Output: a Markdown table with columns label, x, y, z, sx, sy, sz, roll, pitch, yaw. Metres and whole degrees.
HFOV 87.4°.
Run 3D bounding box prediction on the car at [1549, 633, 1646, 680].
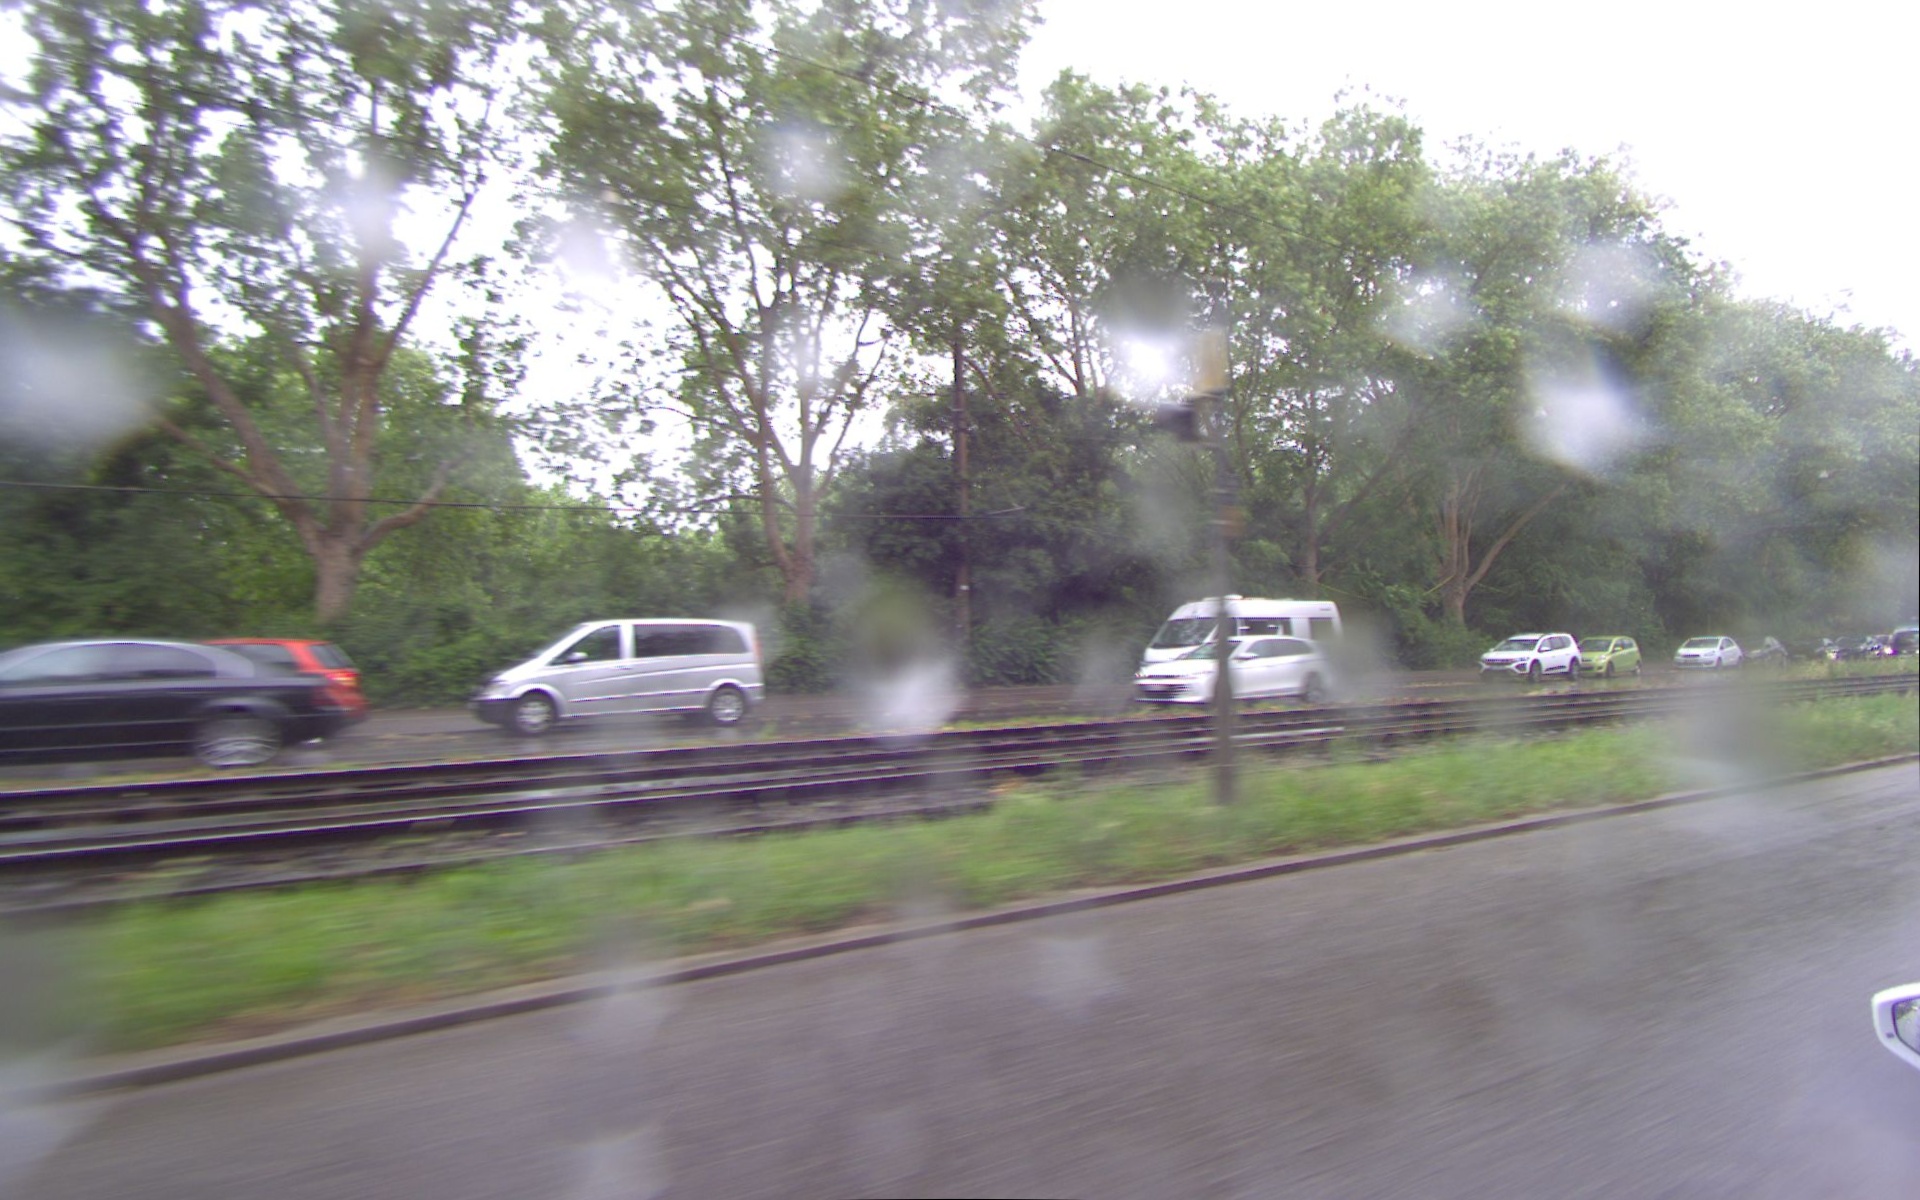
| label | x | y | z | sx | sy | sz | roll | pitch | yaw |
| --- | --- | --- | --- | --- | --- | --- | --- | --- | --- |
| car | 24.135 | 2.111 | 37.976 | 3.775 | 1.669 | 1.750 | 2 | -3 | -35 |

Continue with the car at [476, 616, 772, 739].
| label | x | y | z | sx | sy | sz | roll | pitch | yaw |
| --- | --- | --- | --- | --- | --- | --- | --- | --- | --- |
| car | -5.794 | 1.276 | 17.539 | 4.591 | 1.886 | 1.946 | 1 | -3 | -33 |

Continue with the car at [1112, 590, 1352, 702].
| label | x | y | z | sx | sy | sz | roll | pitch | yaw |
| --- | --- | --- | --- | --- | --- | --- | --- | --- | --- |
| car | 7.155 | 1.185 | 26.029 | 6.500 | 2.574 | 2.375 | 2 | -3 | -35 |

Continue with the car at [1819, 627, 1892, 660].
| label | x | y | z | sx | sy | sz | roll | pitch | yaw |
| --- | --- | --- | --- | --- | --- | --- | --- | --- | --- |
| car | 49.615 | 2.382 | 55.609 | 4.563 | 1.679 | 2.019 | 1 | -1 | -35 |

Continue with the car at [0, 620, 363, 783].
| label | x | y | z | sx | sy | sz | roll | pitch | yaw |
| --- | --- | --- | --- | --- | --- | --- | --- | --- | --- |
| car | -9.200 | 1.039 | 10.994 | 4.517 | 1.572 | 2.022 | 1 | -3 | -33 |

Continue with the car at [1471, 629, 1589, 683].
| label | x | y | z | sx | sy | sz | roll | pitch | yaw |
| --- | --- | --- | --- | --- | --- | --- | --- | --- | --- |
| car | 19.582 | 1.900 | 34.454 | 4.486 | 1.750 | 1.739 | 2 | -3 | -35 |

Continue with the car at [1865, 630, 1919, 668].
| label | x | y | z | sx | sy | sz | roll | pitch | yaw |
| --- | --- | --- | --- | --- | --- | --- | --- | --- | --- |
| car | 45.290 | 2.342 | 48.057 | 4.216 | 1.774 | 2.019 | 2 | -3 | -35 |

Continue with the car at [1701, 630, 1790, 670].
| label | x | y | z | sx | sy | sz | roll | pitch | yaw |
| --- | --- | --- | --- | --- | --- | --- | --- | --- | --- |
| car | 37.015 | 2.352 | 47.298 | 4.647 | 1.774 | 2.019 | 2 | -3 | -35 |

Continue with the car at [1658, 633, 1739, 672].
| label | x | y | z | sx | sy | sz | roll | pitch | yaw |
| --- | --- | --- | --- | --- | --- | --- | --- | --- | --- |
| car | 32.697 | 2.306 | 44.458 | 3.775 | 1.669 | 1.750 | 2 | -3 | -35 |

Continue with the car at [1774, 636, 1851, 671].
| label | x | y | z | sx | sy | sz | roll | pitch | yaw |
| --- | --- | --- | --- | --- | --- | --- | --- | --- | --- |
| car | 44.111 | 2.736 | 51.922 | 4.565 | 1.679 | 2.018 | 1 | -2 | -36 |

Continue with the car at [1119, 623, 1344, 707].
| label | x | y | z | sx | sy | sz | roll | pitch | yaw |
| --- | --- | --- | --- | --- | --- | --- | --- | --- | --- |
| car | 5.762 | 1.323 | 21.115 | 4.719 | 1.587 | 1.966 | 2 | -3 | -34 |

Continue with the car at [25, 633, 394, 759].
| label | x | y | z | sx | sy | sz | roll | pitch | yaw |
| --- | --- | --- | --- | --- | --- | --- | --- | --- | --- |
| car | -10.416 | 1.273 | 14.339 | 3.981 | 1.572 | 1.808 | 1 | -3 | -33 |
